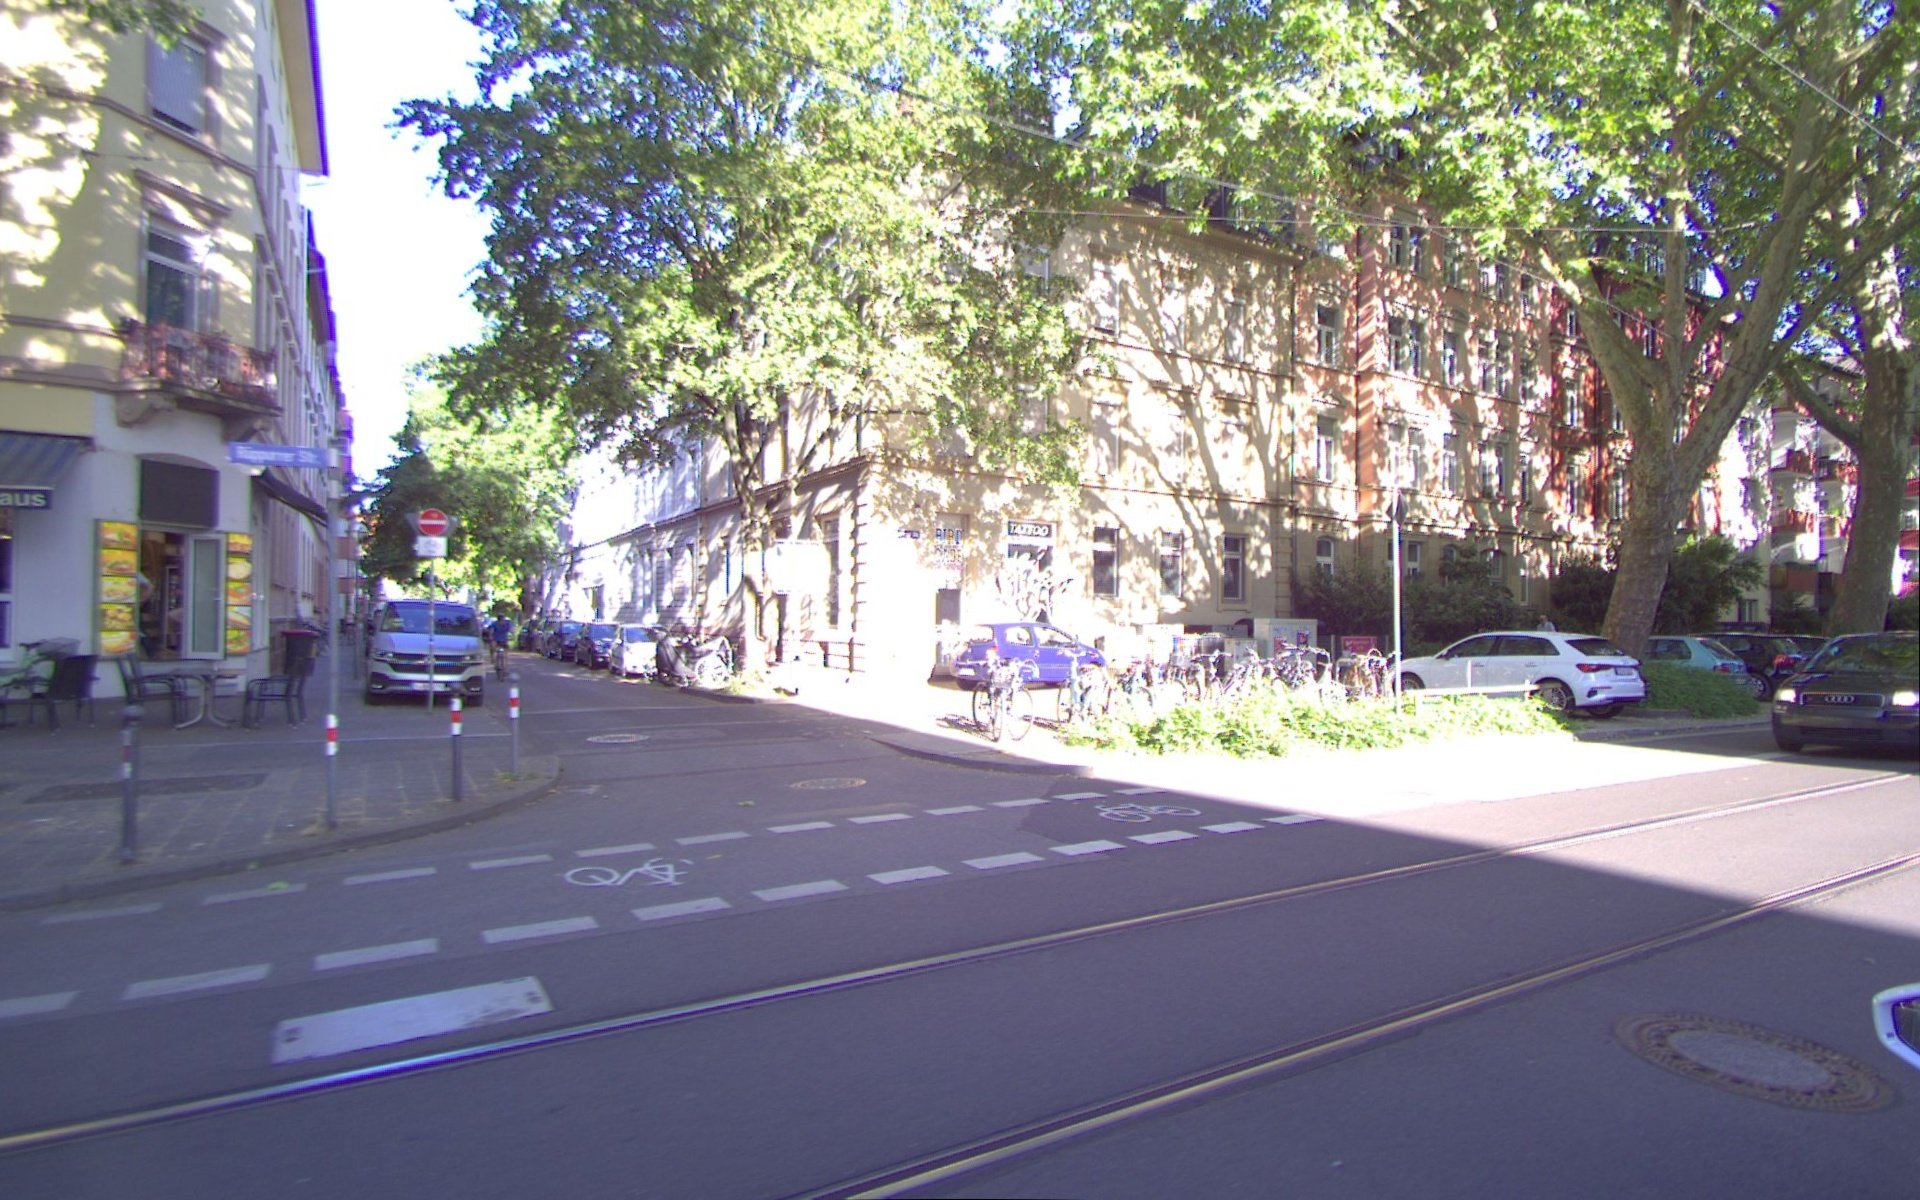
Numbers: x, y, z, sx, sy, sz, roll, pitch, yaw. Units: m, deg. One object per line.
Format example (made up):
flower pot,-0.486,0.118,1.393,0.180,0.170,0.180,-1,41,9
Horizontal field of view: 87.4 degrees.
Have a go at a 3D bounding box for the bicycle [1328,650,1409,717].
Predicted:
bicycle,7.031,1.413,17.381,0.586,1.057,1.806,1,-1,-3

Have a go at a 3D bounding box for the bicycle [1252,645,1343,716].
bicycle,5.783,1.353,17.304,0.587,1.102,1.920,1,-1,-12

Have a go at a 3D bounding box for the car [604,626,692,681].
car,-8.978,1.488,28.796,1.736,1.483,3.372,1,-2,-29

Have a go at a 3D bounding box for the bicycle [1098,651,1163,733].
bicycle,2.510,1.330,14.881,0.389,1.102,1.559,1,-1,-12

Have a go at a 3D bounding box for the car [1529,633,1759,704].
car,15.045,1.451,22.325,1.585,1.387,3.970,1,-2,-28

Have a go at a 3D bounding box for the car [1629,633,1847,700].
car,19.208,1.589,25.000,1.683,1.479,3.970,1,-2,-28

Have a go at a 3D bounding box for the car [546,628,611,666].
car,-14.340,1.737,37.659,1.736,1.322,3.884,1,-2,-29

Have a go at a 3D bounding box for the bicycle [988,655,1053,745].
bicycle,0.802,1.330,13.786,0.389,1.102,1.858,1,-1,-12

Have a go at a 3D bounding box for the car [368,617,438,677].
car,-16.910,1.391,30.505,1.736,1.715,3.151,1,-2,-29

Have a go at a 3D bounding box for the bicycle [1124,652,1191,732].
bicycle,2.935,1.345,15.056,0.389,1.102,1.559,1,-1,-12

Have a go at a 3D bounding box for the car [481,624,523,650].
car,-23.538,1.877,51.584,1.589,1.265,3.289,1,-2,-32

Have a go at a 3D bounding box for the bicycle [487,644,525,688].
bicycle,-11.748,1.678,25.948,0.622,1.045,1.859,1,-2,-33

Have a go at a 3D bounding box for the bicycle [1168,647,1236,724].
bicycle,3.743,1.306,15.653,0.389,1.102,1.559,1,-1,-12

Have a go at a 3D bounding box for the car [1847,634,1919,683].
car,29.532,1.785,30.330,1.683,1.451,3.793,1,-1,-28

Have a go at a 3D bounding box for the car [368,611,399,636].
car,-41.250,1.679,71.870,1.736,1.721,3.369,1,-2,-32

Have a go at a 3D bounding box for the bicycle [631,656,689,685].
bicycle,-8.060,1.892,26.971,1.435,0.742,0.395,1,-1,-30

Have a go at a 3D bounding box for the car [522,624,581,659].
car,-16.596,1.664,40.742,1.736,1.322,3.884,1,-2,-29

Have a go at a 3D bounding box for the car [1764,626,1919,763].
car,12.008,1.117,12.867,3.652,1.530,1.626,1,-2,-33

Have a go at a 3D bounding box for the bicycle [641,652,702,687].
bicycle,-7.411,1.781,25.836,1.435,0.871,0.395,1,-1,-30

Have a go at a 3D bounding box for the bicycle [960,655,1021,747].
bicycle,0.389,1.329,13.682,0.389,1.102,1.858,1,-1,-12

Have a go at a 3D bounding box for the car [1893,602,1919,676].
car,35.501,1.367,33.777,2.137,2.570,5.713,1,-1,-30

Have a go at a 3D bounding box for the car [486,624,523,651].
car,-26.872,2.186,59.188,1.589,1.572,3.289,1,-2,-32

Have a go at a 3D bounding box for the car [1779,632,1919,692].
car,25.236,1.684,27.691,1.684,1.479,3.776,1,-1,-30

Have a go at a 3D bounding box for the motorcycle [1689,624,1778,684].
motorcycle,22.616,1.567,29.355,2.978,1.653,1.046,2,0,-32

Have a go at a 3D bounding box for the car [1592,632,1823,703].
car,17.298,1.505,23.451,1.748,1.479,3.970,1,-2,-28

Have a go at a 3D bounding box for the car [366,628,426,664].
car,-19.735,1.578,35.171,1.736,1.193,3.372,1,-2,-29

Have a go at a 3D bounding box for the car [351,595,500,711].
car,-10.064,0.977,19.273,2.100,1.905,4.560,4,-3,-24

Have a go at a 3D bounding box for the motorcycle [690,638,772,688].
motorcycle,-5.272,1.435,23.208,1.826,1.086,0.524,2,-2,-44

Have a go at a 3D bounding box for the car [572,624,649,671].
car,-11.503,1.525,32.915,1.736,1.429,3.884,1,-2,-29

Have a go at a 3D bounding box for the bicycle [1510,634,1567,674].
bicycle,17.140,1.593,29.757,1.760,1.154,0.738,1,-1,-31

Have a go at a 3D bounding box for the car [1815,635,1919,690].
car,27.542,1.786,29.037,1.809,1.516,3.969,1,-2,-30

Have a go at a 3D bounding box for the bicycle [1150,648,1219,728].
bicycle,3.363,1.295,15.167,0.389,1.102,1.559,1,-1,-12

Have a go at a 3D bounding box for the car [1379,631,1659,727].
car,9.740,1.323,17.795,1.858,1.479,3.967,3,-3,-31

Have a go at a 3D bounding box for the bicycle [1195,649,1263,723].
bicycle,4.346,1.373,16.298,0.389,1.102,1.559,1,-1,-12

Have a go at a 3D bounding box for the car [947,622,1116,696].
car,1.582,1.244,21.826,3.453,1.479,1.589,1,-2,-34

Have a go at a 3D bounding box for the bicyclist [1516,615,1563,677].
bicyclist,17.162,1.350,29.743,1.036,1.786,0.826,1,-1,-31

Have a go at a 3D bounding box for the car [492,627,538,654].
car,-21.275,1.909,47.980,1.589,1.247,3.289,1,-2,-32

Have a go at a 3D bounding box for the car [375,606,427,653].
car,-22.547,1.170,40.505,1.736,1.812,3.372,1,-2,-29

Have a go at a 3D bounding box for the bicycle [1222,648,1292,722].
bicycle,4.823,1.357,16.396,0.389,1.102,1.559,1,-1,-12

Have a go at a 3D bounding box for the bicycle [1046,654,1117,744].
bicycle,1.657,1.336,13.967,0.389,1.102,1.858,1,-1,-12

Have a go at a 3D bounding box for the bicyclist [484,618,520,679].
bicyclist,-11.958,1.253,26.224,0.729,1.546,0.861,1,-1,-33

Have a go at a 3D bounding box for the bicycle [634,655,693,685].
bicycle,-7.794,1.837,26.449,1.435,0.742,0.395,1,-1,-30

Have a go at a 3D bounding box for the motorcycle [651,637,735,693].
motorcycle,-6.335,1.530,23.886,1.851,1.278,0.586,1,-1,-26
